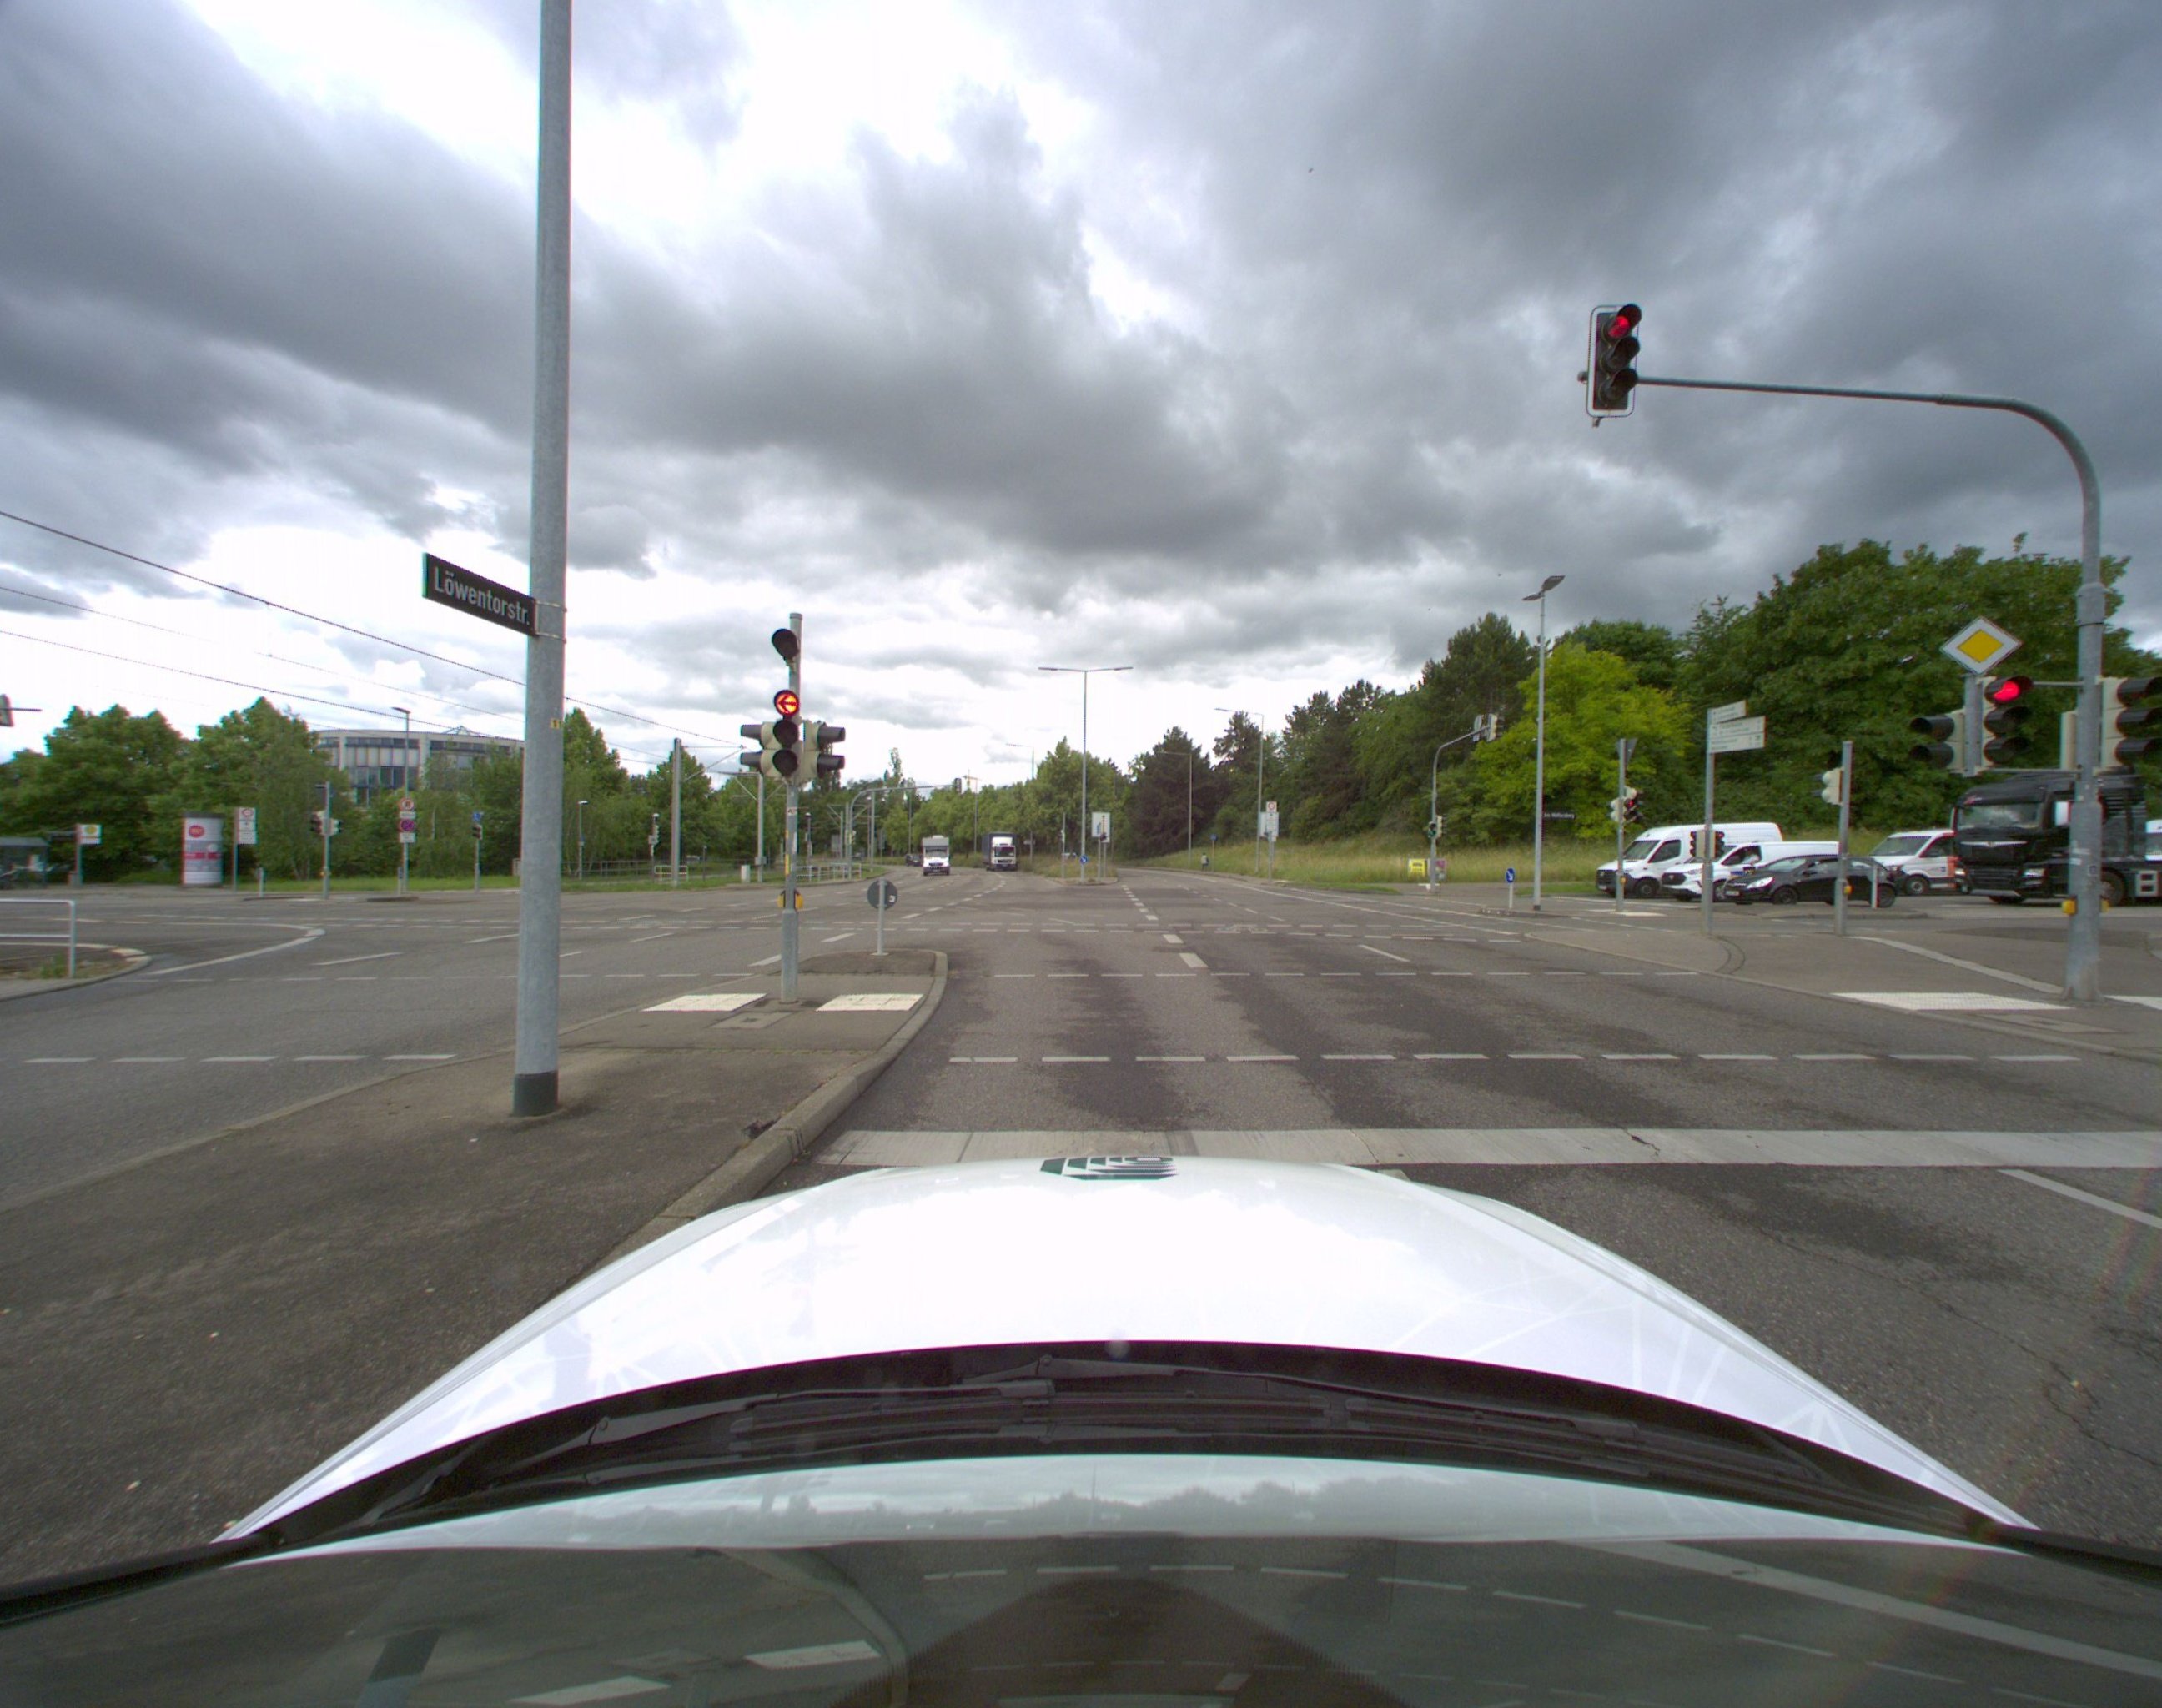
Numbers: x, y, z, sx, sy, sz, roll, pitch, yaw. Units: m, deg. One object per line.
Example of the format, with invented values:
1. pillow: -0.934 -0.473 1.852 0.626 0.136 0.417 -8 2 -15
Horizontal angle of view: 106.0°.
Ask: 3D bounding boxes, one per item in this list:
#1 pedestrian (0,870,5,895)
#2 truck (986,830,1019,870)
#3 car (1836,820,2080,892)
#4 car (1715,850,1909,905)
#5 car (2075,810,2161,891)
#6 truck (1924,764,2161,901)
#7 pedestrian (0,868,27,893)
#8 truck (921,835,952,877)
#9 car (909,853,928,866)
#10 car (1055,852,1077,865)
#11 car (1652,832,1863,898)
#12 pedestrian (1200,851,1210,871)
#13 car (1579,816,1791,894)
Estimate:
1. pedestrian: -57.782 1.503 43.149 0.582 1.316 0.734 -1 0 17
2. truck: -7.884 -0.369 80.886 2.778 3.804 8.362 0 0 -9
3. car: 30.798 0.093 28.784 5.913 2.386 2.231 -1 -1 4
4. car: 20.267 0.643 22.697 3.836 1.442 1.638 -1 0 4
5. car: 39.651 -0.137 28.512 6.635 2.720 2.230 -1 -1 3
6. truck: 27.977 -0.541 22.527 5.915 3.518 3.077 -1 -1 3
7. pedestrian: -56.323 1.381 42.873 0.774 1.252 0.769 -1 0 -27
8. truck: -11.299 0.141 63.725 2.105 3.010 6.252 -4 0 -10
9. car: -23.363 0.736 117.074 2.001 1.783 3.972 0 0 -21
10. car: -1.935 0.573 105.149 1.998 1.728 3.706 0 0 -17
11. car: 21.635 0.387 26.241 4.952 1.991 2.121 -1 -2 2
12. pedestrian: 10.776 0.566 70.648 0.736 1.717 0.625 0 0 1
13. car: 21.747 0.060 29.536 5.915 2.659 2.230 -1 -1 3
